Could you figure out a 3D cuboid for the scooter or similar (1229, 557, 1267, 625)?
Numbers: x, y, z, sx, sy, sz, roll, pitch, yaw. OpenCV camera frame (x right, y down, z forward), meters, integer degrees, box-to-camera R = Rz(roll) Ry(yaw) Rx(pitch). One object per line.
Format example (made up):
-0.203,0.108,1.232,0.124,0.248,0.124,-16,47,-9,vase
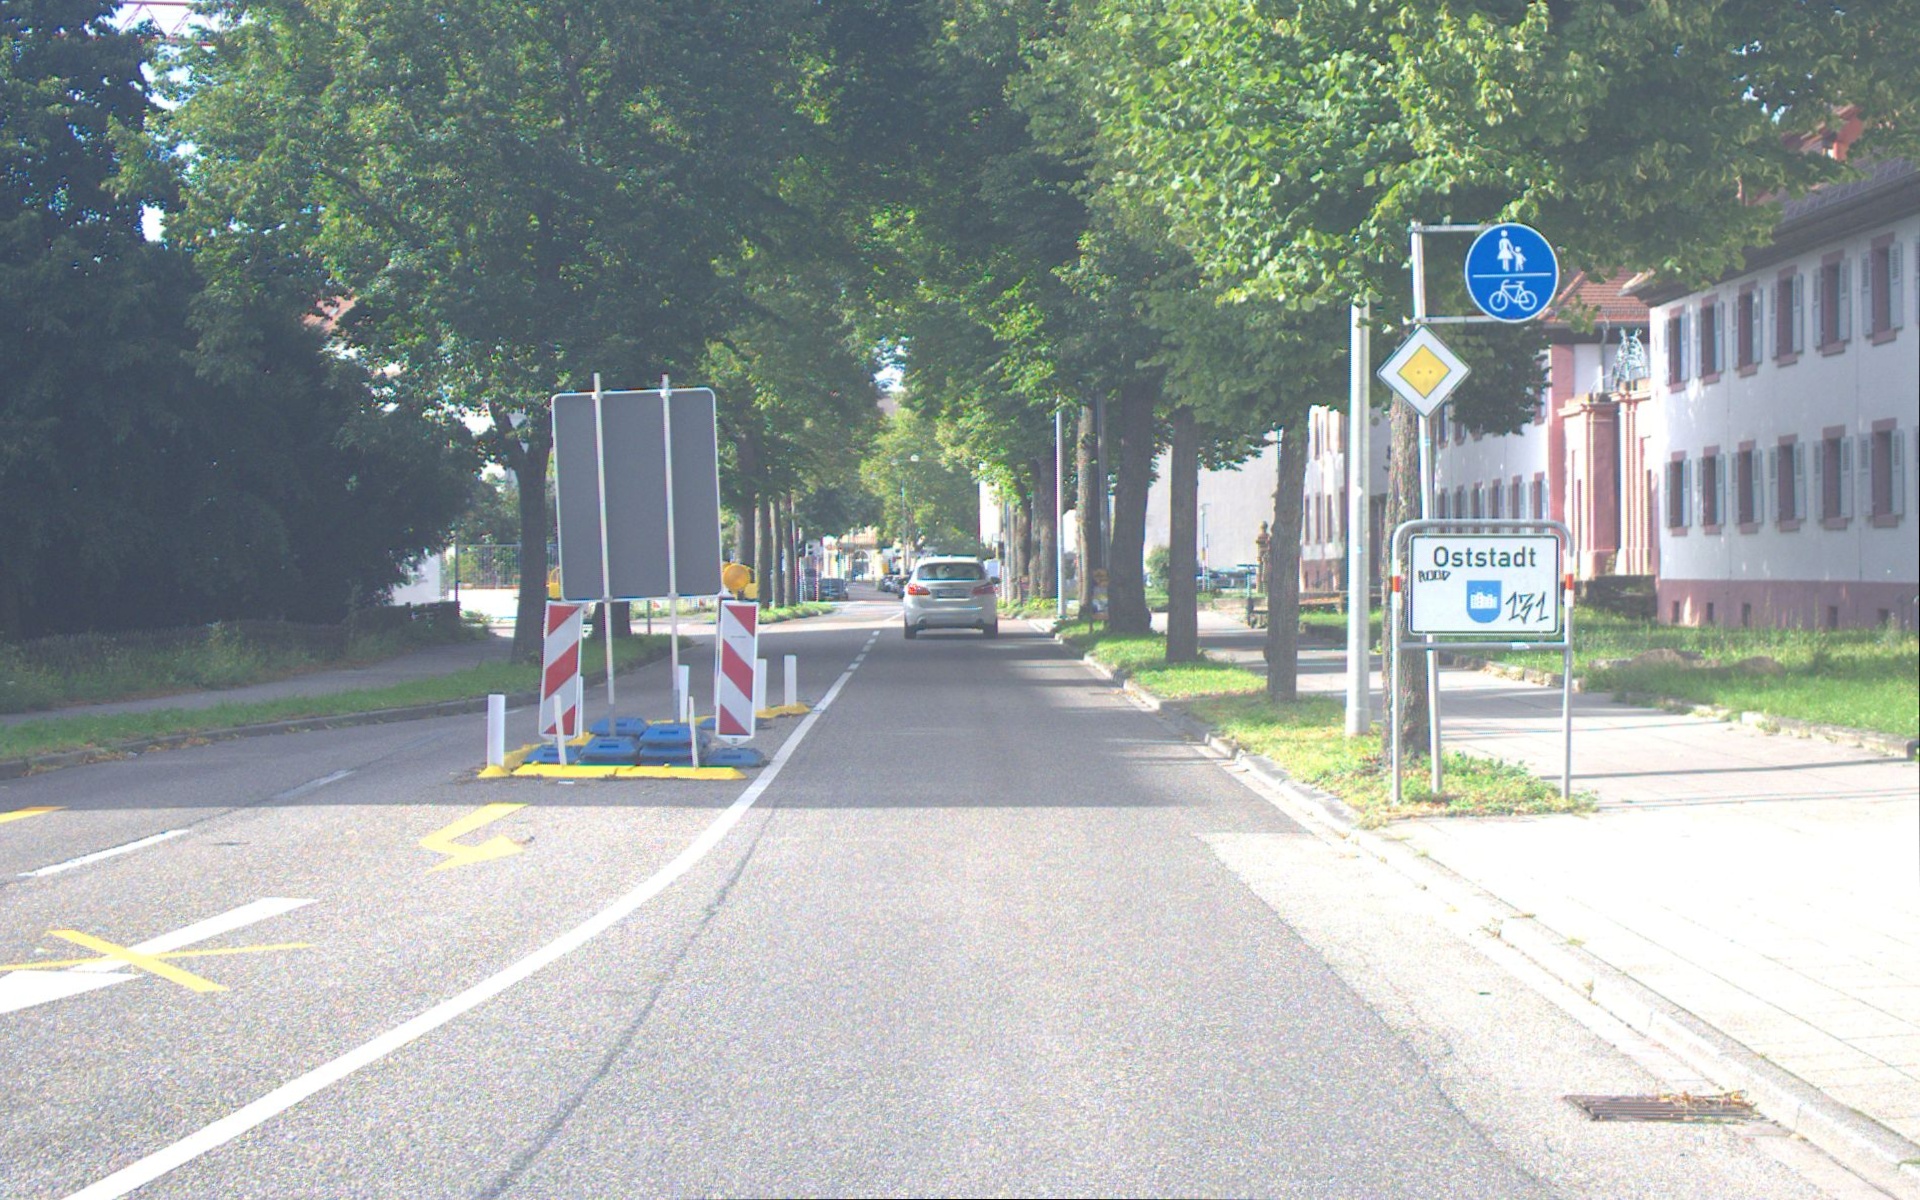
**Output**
5.626,-0.178,67.199,0.579,1.287,1.381,-2,1,1,scooter or similar

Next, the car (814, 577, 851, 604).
-8.082,-0.624,217.346,1.993,1.634,4.001,-1,0,-7,car

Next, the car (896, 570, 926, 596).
-3.385,-1.153,238.816,1.993,1.749,4.000,1,0,0,car

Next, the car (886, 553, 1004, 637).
-0.324,-0.092,66.488,1.993,1.549,4.274,1,0,-4,car
